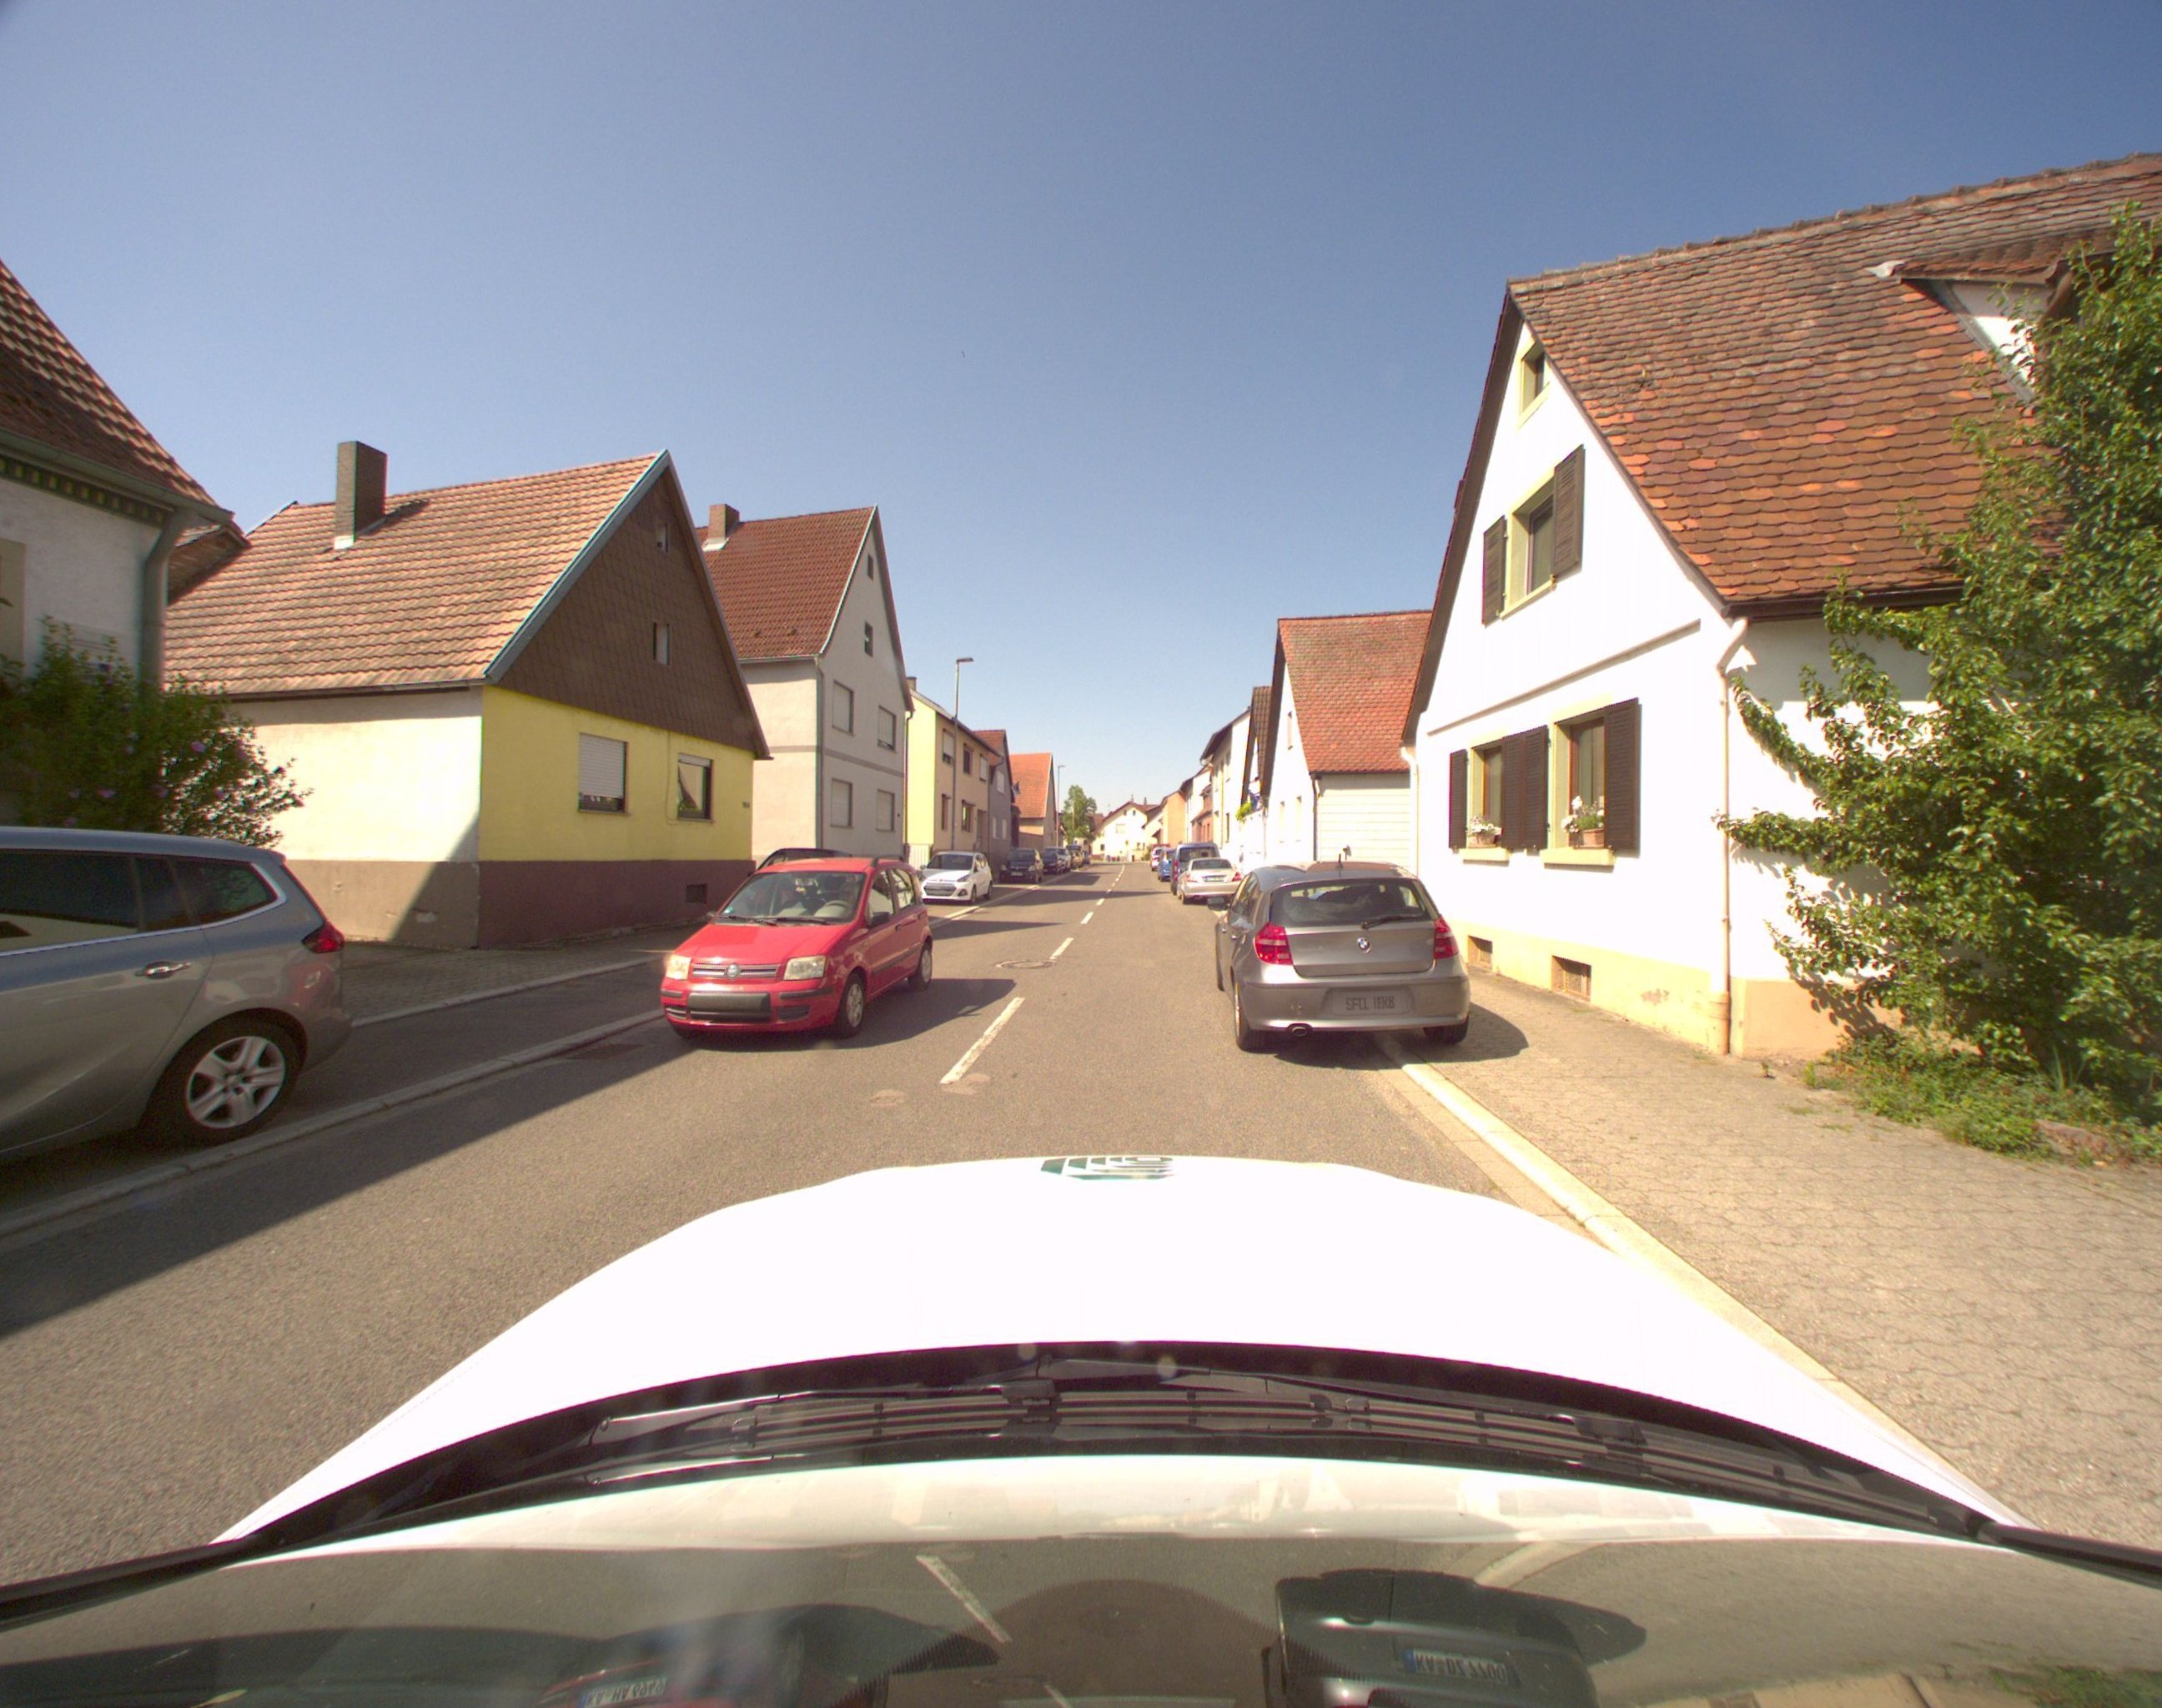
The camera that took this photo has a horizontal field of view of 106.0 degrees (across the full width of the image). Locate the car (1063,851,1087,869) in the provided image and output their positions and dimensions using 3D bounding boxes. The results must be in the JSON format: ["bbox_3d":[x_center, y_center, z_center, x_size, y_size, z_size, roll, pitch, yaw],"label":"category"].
[{"bbox_3d":[-0.442,0.497,66.980,1.747,1.442,4.003,0,0,3],"label":"car"}]

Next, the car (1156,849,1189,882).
[{"bbox_3d":[4.482,0.540,40.029,1.414,1.515,3.307,2,0,3],"label":"car"}]

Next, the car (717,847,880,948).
[{"bbox_3d":[-4.824,0.688,14.315,1.545,1.544,2.992,2,0,5],"label":"car"}]

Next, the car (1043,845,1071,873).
[{"bbox_3d":[-1.549,0.311,53.859,1.521,1.713,3.629,2,0,3],"label":"car"}]

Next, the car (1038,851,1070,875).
[{"bbox_3d":[-1.604,0.541,49.437,1.497,1.453,3.513,0,-1,4],"label":"car"}]

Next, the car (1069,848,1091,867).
[{"bbox_3d":[-0.086,0.323,74.711,1.746,1.624,4.004,0,-1,4],"label":"car"}]

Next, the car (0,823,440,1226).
[{"bbox_3d":[-5.350,0.667,3.000,1.863,1.636,4.673,2,0,7],"label":"car"}]

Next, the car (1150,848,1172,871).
[{"bbox_3d":[5.666,0.371,57.645,1.414,1.515,3.307,2,0,3],"label":"car"}]

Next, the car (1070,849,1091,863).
[{"bbox_3d":[-0.038,0.186,84.282,1.746,1.442,4.006,0,-1,5],"label":"car"}]

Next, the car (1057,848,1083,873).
[{"bbox_3d":[-0.776,0.438,59.128,1.521,1.713,3.629,2,0,3],"label":"car"}]

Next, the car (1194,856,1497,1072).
[{"bbox_3d":[2.051,0.753,7.457,1.697,1.433,3.893,-1,0,3],"label":"car"}]

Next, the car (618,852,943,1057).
[{"bbox_3d":[-2.579,0.758,7.950,1.594,1.489,3.629,2,0,3],"label":"car"}]

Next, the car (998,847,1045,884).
[{"bbox_3d":[-2.680,0.517,37.673,1.612,1.577,3.965,2,0,3],"label":"car"}]

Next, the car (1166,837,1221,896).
[{"bbox_3d":[3.978,0.419,29.169,1.642,1.910,3.629,2,0,3],"label":"car"}]

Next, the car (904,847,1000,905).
[{"bbox_3d":[-3.765,0.608,24.546,1.797,1.548,4.410,2,0,5],"label":"car"}]

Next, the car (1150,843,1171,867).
[{"bbox_3d":[6.902,0.090,70.745,1.758,2.004,3.454,0,-1,5],"label":"car"}]

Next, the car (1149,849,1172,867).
[{"bbox_3d":[6.370,0.345,65.290,1.758,1.433,3.454,0,-1,5],"label":"car"}]

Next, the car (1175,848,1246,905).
[{"bbox_3d":[3.748,0.628,24.104,1.697,1.496,3.455,-3,0,3],"label":"car"}]
